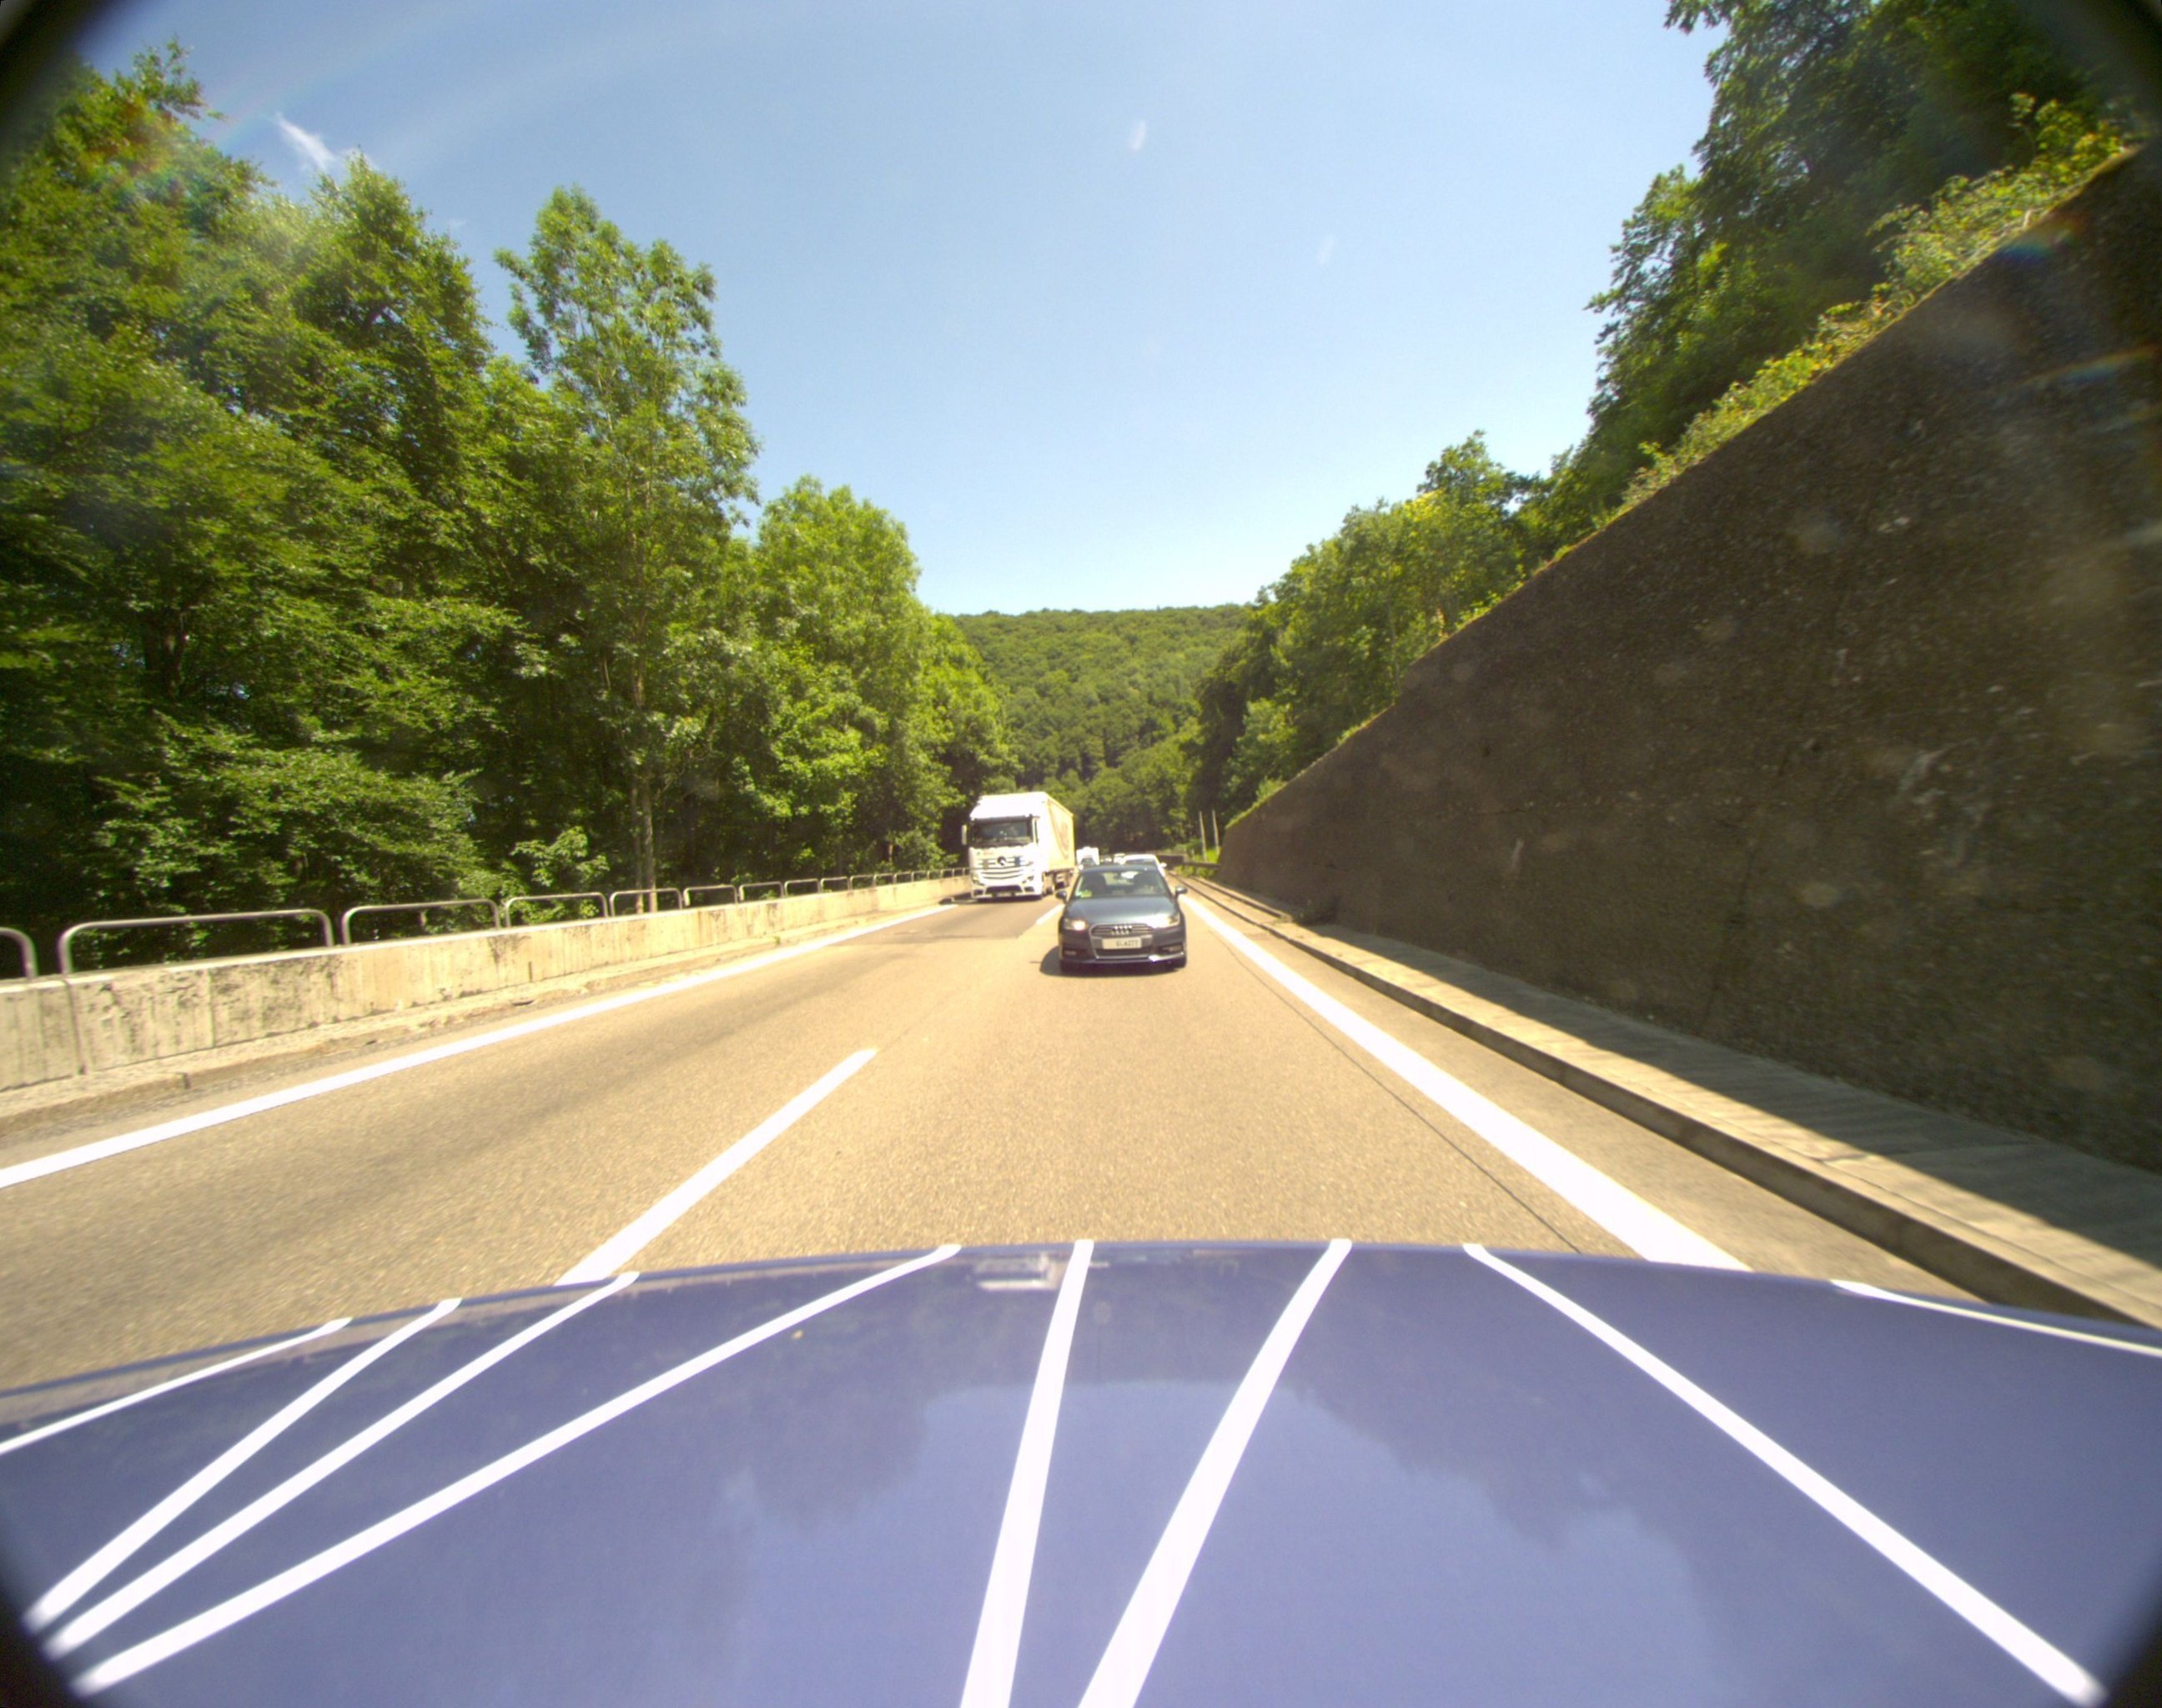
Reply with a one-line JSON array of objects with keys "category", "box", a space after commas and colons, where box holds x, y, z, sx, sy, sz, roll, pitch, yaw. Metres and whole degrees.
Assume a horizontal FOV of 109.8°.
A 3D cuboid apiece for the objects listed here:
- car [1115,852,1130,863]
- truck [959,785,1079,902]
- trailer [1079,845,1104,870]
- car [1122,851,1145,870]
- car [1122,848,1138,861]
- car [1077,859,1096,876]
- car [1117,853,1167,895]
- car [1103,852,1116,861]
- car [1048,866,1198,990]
[{"category": "car", "box": [5.724, 0.496, 105.546, 1.618, 1.487, 3.655, -2, 0, -2]}, {"category": "truck", "box": [-2.195, -0.441, 35.078, 2.968, 4.109, 16.710, 0, 1, 4]}, {"category": "trailer", "box": [1.286, 0.377, 88.201, 2.527, 2.694, 9.506, -1, 0, 3]}, {"category": "car", "box": [4.436, 0.523, 63.877, 1.755, 1.480, 3.983, -2, 0, 4]}, {"category": "car", "box": [5.952, 0.018, 92.827, 1.618, 1.487, 3.655, -4, 0, -1]}, {"category": "car", "box": [0.563, 1.421, 80.845, 1.999, 1.652, 4.000, -2, 0, 0]}, {"category": "car", "box": [2.429, 0.729, 29.626, 1.754, 1.460, 3.983, -2, 0, 6]}, {"category": "car", "box": [4.947, 0.453, 131.737, 1.619, 1.487, 3.654, -2, 0, -7]}, {"category": "car", "box": [0.610, 0.933, 11.259, 1.755, 1.350, 4.123, -2, 0, 3]}]
